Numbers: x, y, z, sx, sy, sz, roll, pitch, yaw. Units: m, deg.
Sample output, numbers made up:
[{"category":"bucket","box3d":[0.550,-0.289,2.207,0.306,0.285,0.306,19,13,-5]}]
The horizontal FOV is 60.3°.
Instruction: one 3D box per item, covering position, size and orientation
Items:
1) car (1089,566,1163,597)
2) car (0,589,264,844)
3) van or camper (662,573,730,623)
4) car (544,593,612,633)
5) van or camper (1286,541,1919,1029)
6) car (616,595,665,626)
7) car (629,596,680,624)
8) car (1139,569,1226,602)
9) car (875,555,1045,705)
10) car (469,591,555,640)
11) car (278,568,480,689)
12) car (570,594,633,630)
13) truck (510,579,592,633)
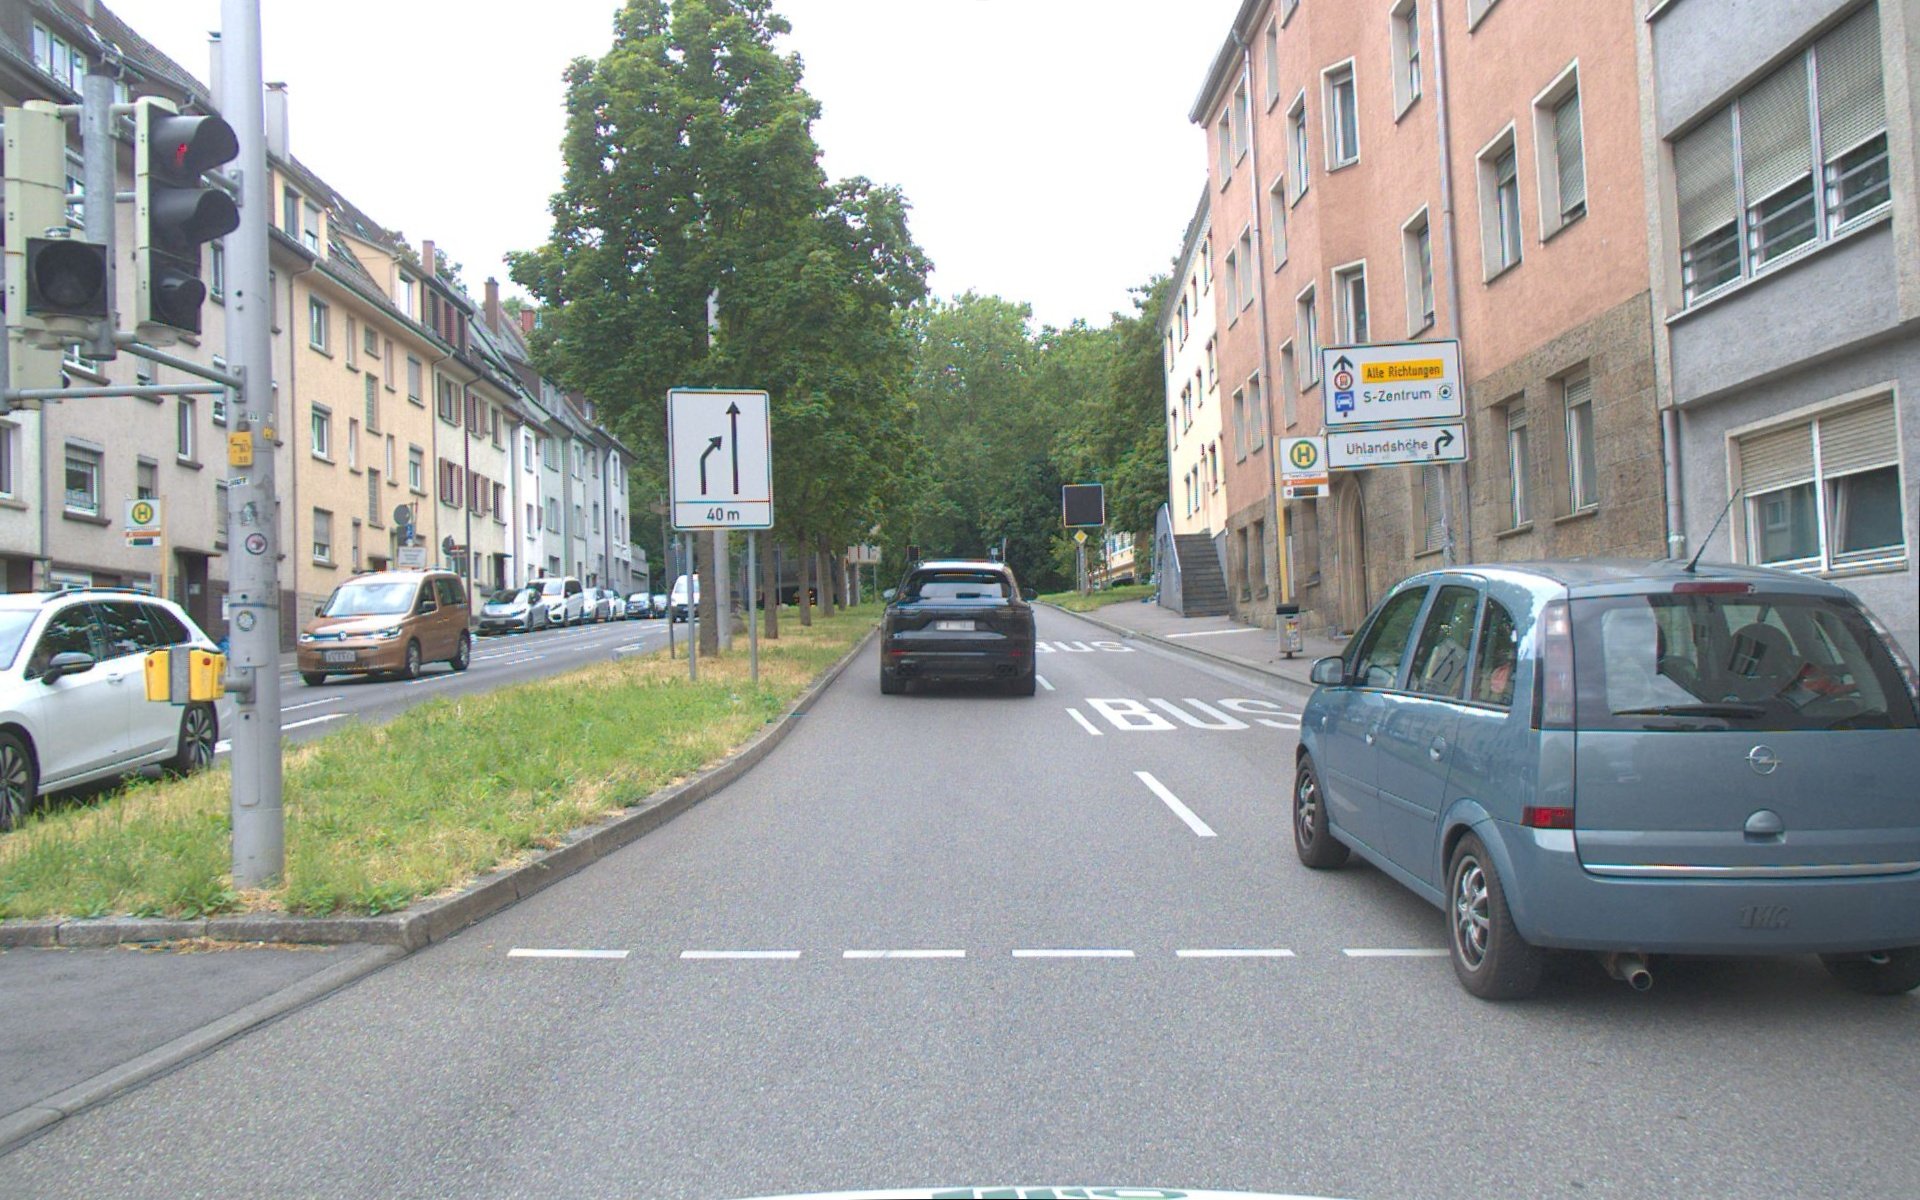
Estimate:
[{"category":"car","box3d":[8.988,-1.020,89.315,1.966,1.442,3.974,-3,0,43]},{"category":"car","box3d":[-6.553,0.709,11.291,1.710,1.492,4.584,-2,1,-2]},{"category":"van or camper","box3d":[-10.162,-0.101,64.008,1.869,1.792,4.654,-2,0,-1]},{"category":"car","box3d":[-16.186,0.524,70.276,1.953,1.579,4.380,-3,0,-2]},{"category":"van or camper","box3d":[2.675,0.584,7.293,1.700,1.605,3.645,0,1,-1]},{"category":"car","box3d":[-16.370,0.526,85.002,1.955,1.448,4.208,-3,0,-5]},{"category":"car","box3d":[-16.664,0.558,90.470,1.953,1.425,4.517,-3,0,-1]},{"category":"car","box3d":[11.494,-0.759,85.241,4.066,1.453,1.848,-4,1,-25]},{"category":"car","box3d":[0.021,0.360,21.714,1.953,1.682,4.000,-3,0,0]},{"category":"car","box3d":[-15.875,0.528,58.789,1.953,1.579,4.156,-3,0,-2]},{"category":"car","box3d":[-9.738,0.430,28.102,1.841,1.847,4.351,-1,0,0]},{"category":"car","box3d":[-16.369,0.532,75.682,1.953,1.500,4.157,-3,0,-1]},{"category":"truck","box3d":[-16.012,0.207,64.971,1.953,1.953,5.345,-3,0,-2]}]
